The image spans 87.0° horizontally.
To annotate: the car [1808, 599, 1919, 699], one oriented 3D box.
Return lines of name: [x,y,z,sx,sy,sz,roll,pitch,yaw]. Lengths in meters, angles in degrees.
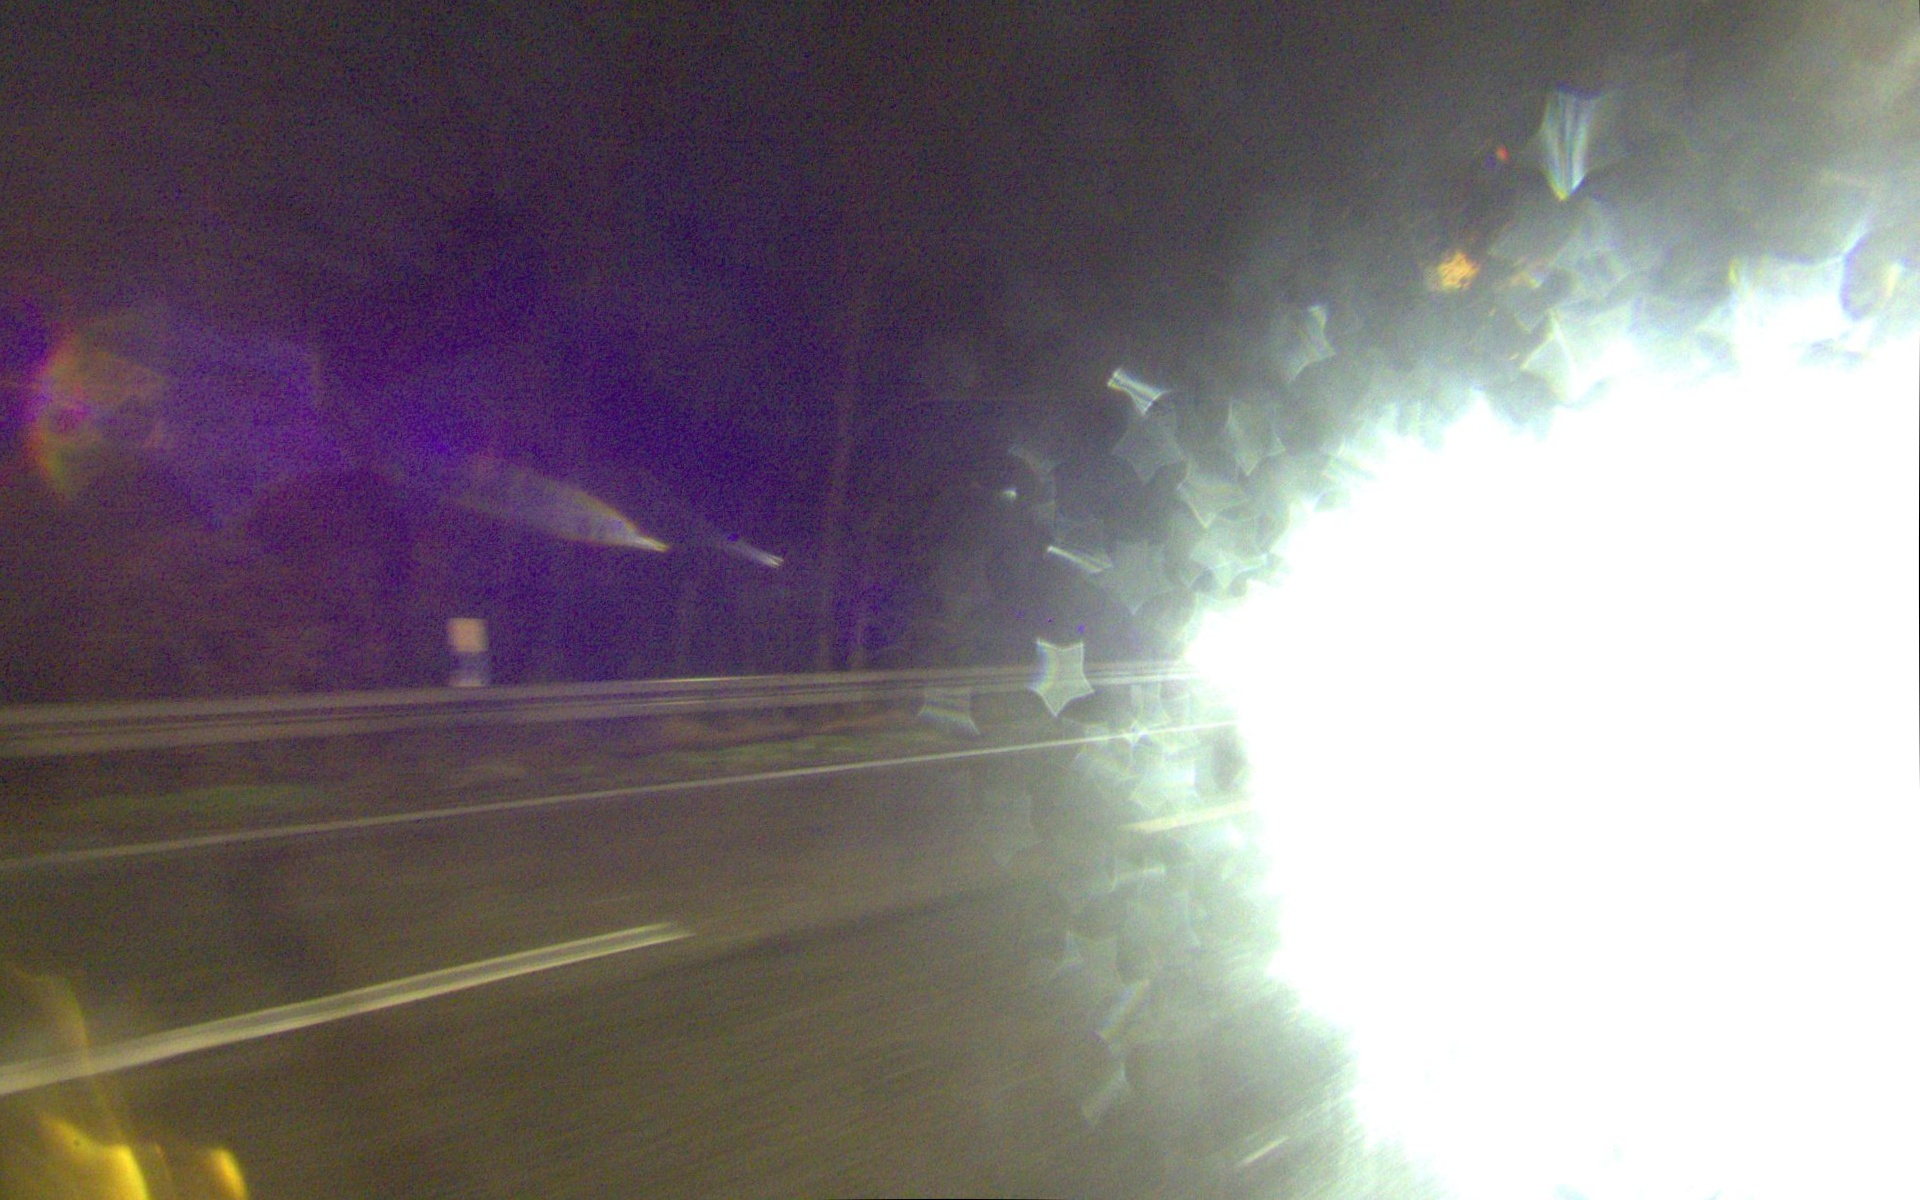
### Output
car: [15.881,0.742,16.978,4.487,1.503,1.825,0,0,-40]

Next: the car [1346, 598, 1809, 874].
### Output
car: [4.845,0.730,7.604,4.644,1.467,1.734,0,-1,-42]
